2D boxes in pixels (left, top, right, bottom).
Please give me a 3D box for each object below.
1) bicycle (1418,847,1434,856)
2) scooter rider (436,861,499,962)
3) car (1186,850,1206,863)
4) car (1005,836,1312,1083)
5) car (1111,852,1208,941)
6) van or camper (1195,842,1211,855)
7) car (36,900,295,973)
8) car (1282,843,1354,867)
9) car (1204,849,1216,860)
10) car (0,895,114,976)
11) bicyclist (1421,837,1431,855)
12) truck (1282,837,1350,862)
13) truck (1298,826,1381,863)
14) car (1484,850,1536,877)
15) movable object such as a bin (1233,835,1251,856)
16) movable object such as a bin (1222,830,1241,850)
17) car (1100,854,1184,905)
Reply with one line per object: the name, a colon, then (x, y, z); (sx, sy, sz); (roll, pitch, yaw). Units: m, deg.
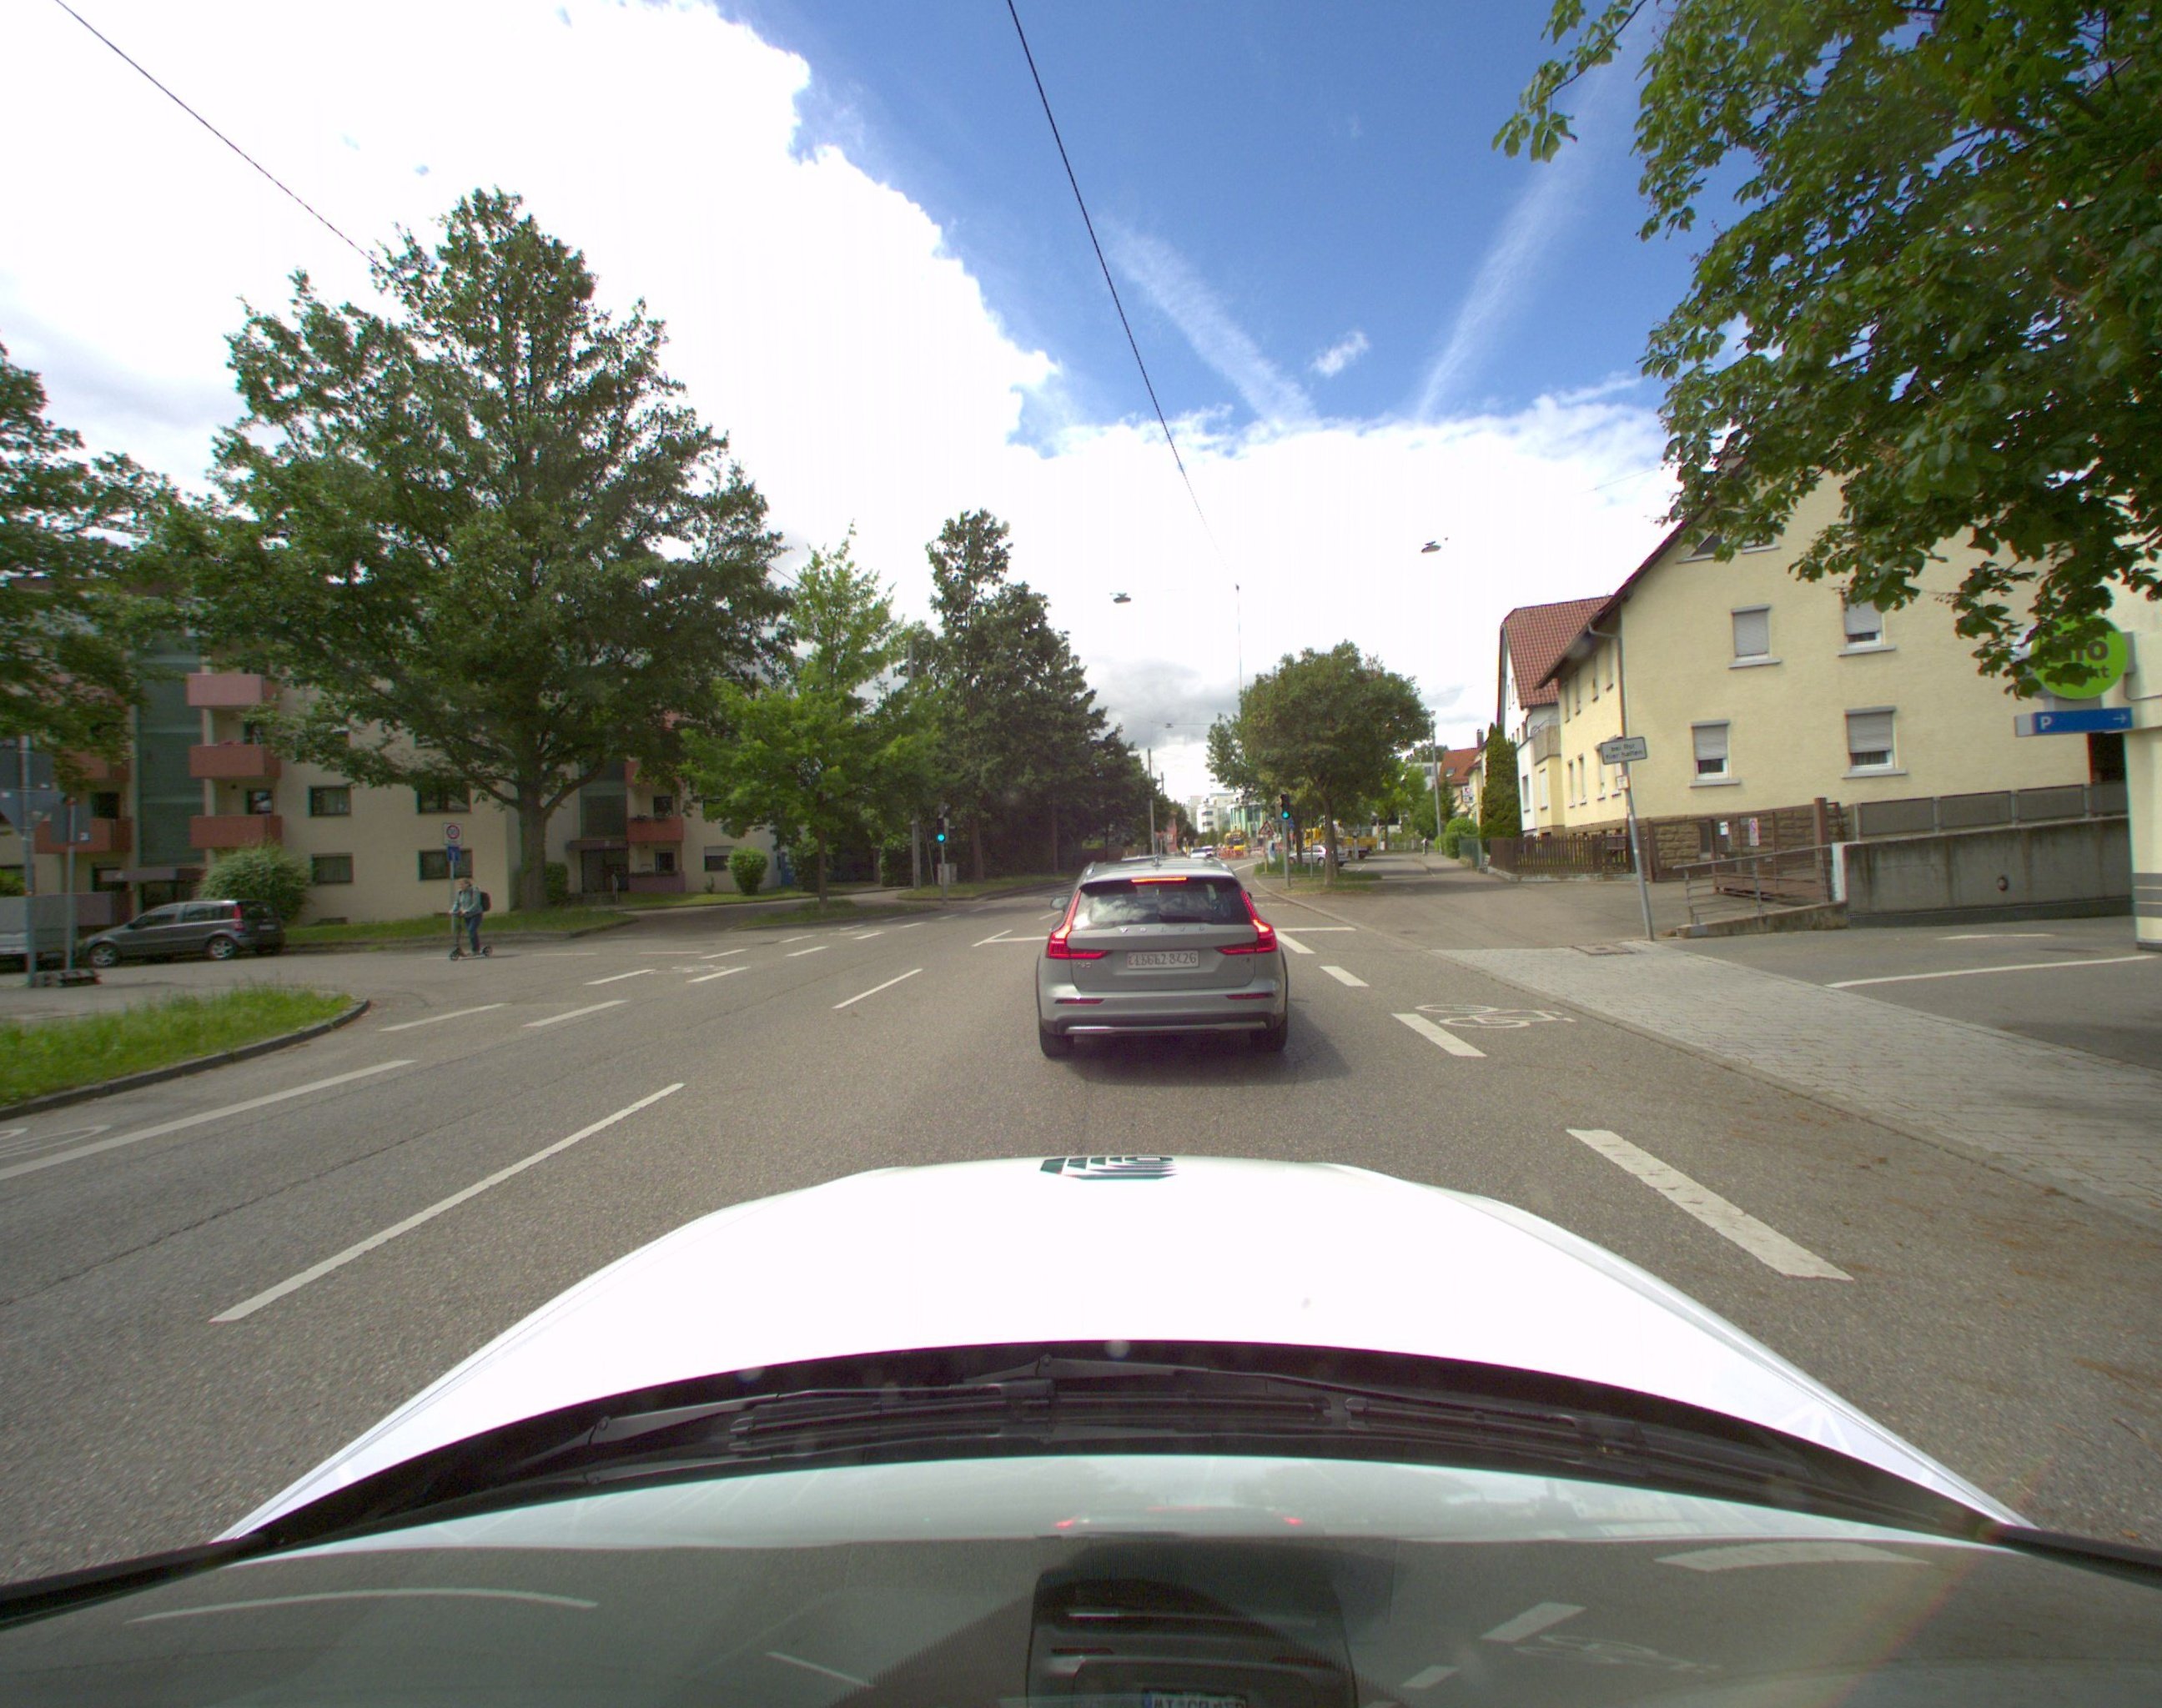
bicycle: (29.437, -0.203, 69.528); (0.592, 0.812, 1.754); (0, 0, 1)
scooter rider: (-12.612, 1.158, 16.762); (0.674, 2.014, 0.794); (0, -1, 1)
car: (12.398, 0.305, 87.642); (1.816, 1.330, 4.012); (0, -2, 11)
car: (0.662, 0.682, 7.280); (1.919, 1.540, 4.006); (-2, 0, 5)
car: (1.492, 0.747, 15.789); (1.653, 1.508, 3.707); (0, -1, 5)
van or camper: (17.232, -0.764, 115.005); (1.848, 1.776, 4.395); (-2, 0, 12)
car: (-22.801, 2.012, 20.481); (3.995, 1.452, 1.687); (-3, -1, -16)
car: (15.637, 0.077, 53.975); (1.773, 1.451, 4.644); (-2, 0, -30)
car: (22.229, 0.083, 140.164); (1.982, 1.737, 4.009); (0, -1, 8)
car: (-27.072, 2.112, 19.949); (3.990, 1.844, 1.838); (-5, -2, -12)
bicyclist: (29.436, -0.695, 69.525); (0.587, 1.559, 0.567); (0, -1, 1)
truck: (19.693, -0.363, 68.514); (2.007, 2.014, 5.619); (0, -1, -33)
truck: (22.203, -0.718, 70.274); (2.780, 3.008, 6.639); (0, -1, -32)
car: (19.338, 0.431, 36.861); (1.450, 1.124, 3.890); (0, -1, 18)
movable object such as a bin: (21.498, -1.099, 108.848); (2.020, 2.642, 5.961); (-3, 0, 13)
movable object such as a bin: (24.344, -2.246, 132.052); (2.299, 2.990, 6.436); (-3, 0, 5)
car: (2.042, 0.769, 26.122); (2.088, 1.510, 4.014); (0, -1, 13)
